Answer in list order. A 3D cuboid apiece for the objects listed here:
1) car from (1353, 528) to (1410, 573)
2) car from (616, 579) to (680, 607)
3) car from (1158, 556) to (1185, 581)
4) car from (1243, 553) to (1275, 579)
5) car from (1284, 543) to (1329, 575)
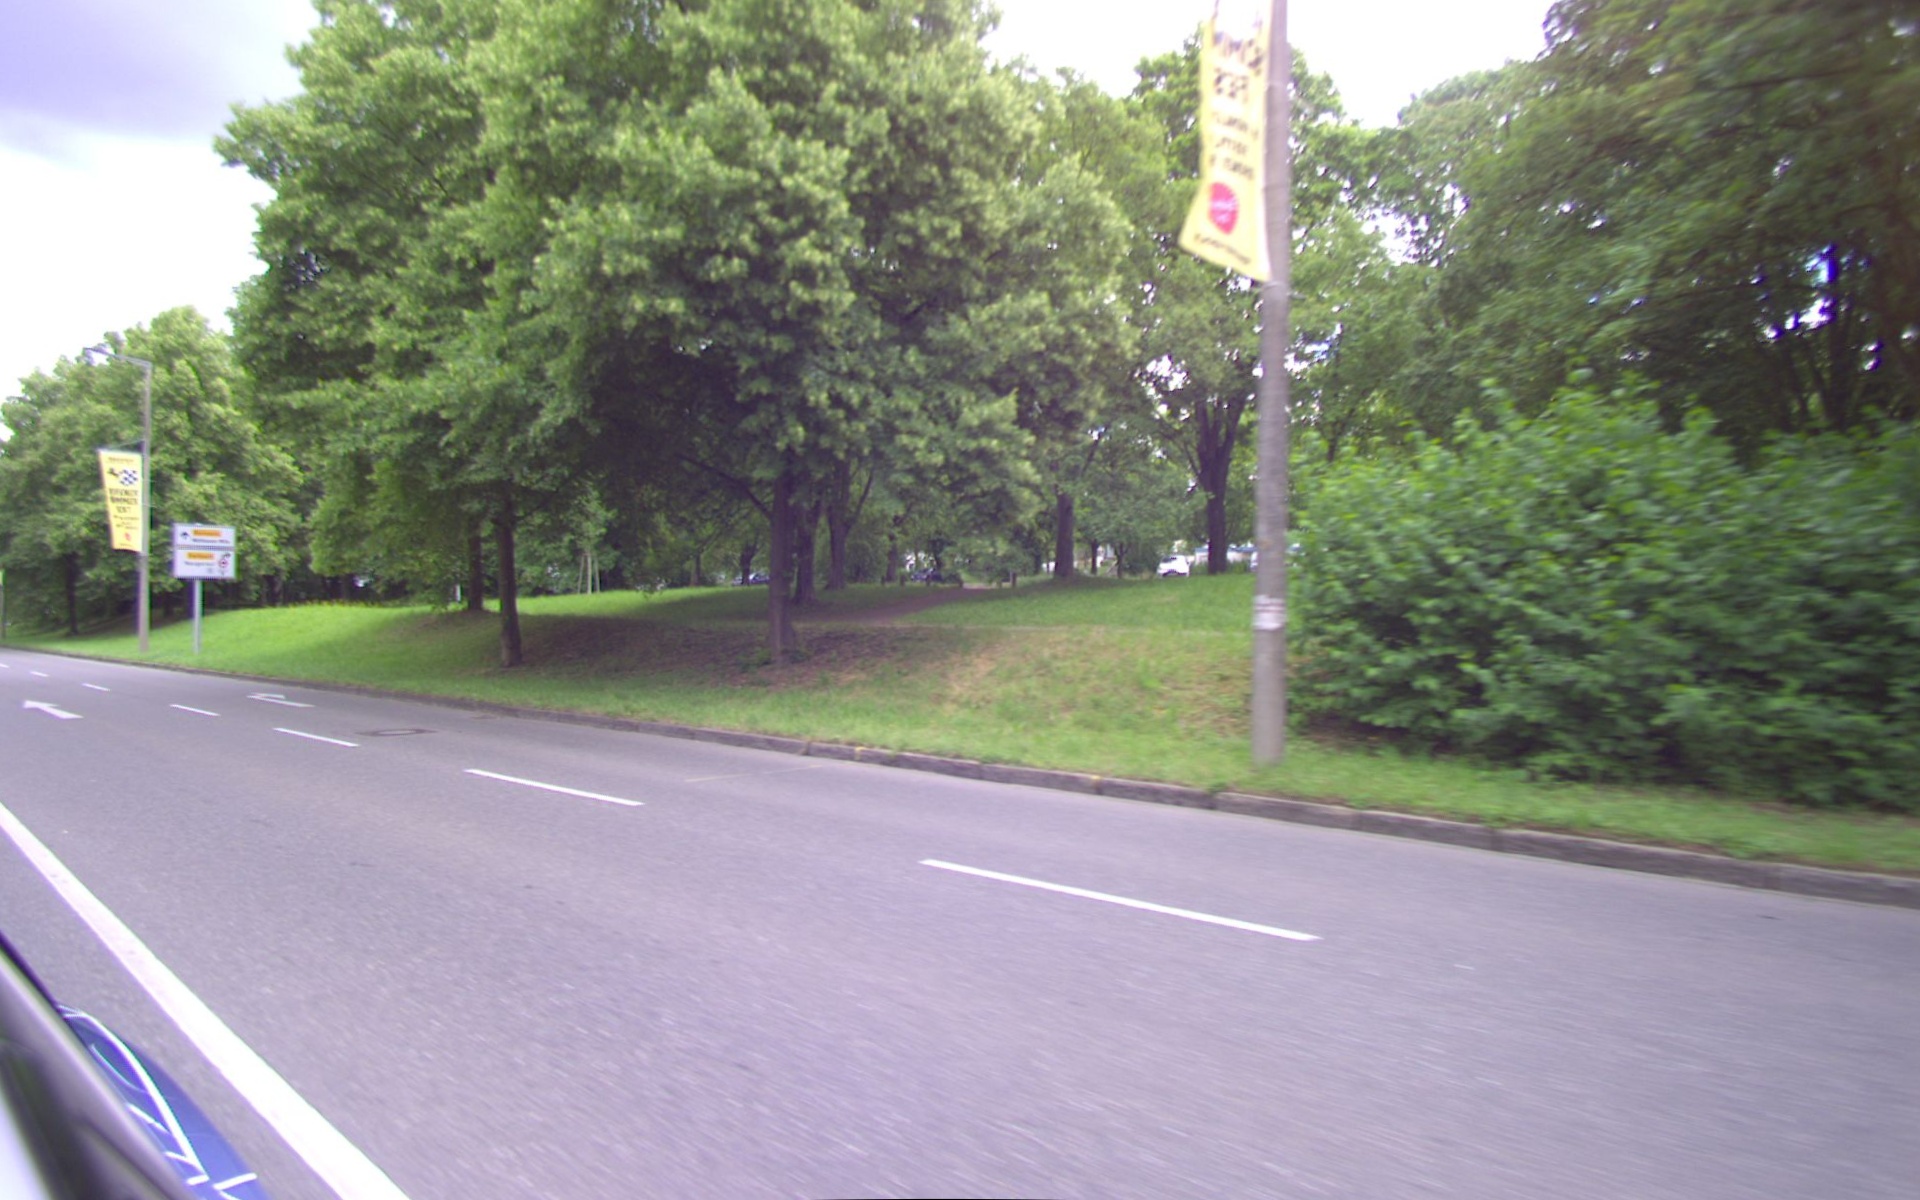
[{"bbox_3d":[17.556,-2.018,42.288,1.739,1.696,4.092,-1,0,17],"label":"car"},{"bbox_3d":[-22.554,-0.475,73.365,2.298,1.910,4.883,-1,0,14],"label":"car"},{"bbox_3d":[11.720,-1.710,55.945,1.386,1.243,3.495,-1,0,13],"label":"car"},{"bbox_3d":[15.938,-1.786,54.123,1.386,1.243,3.495,-1,0,13],"label":"car"},{"bbox_3d":[14.735,-1.728,43.156,1.386,1.219,3.495,-1,0,13],"label":"car"}]
